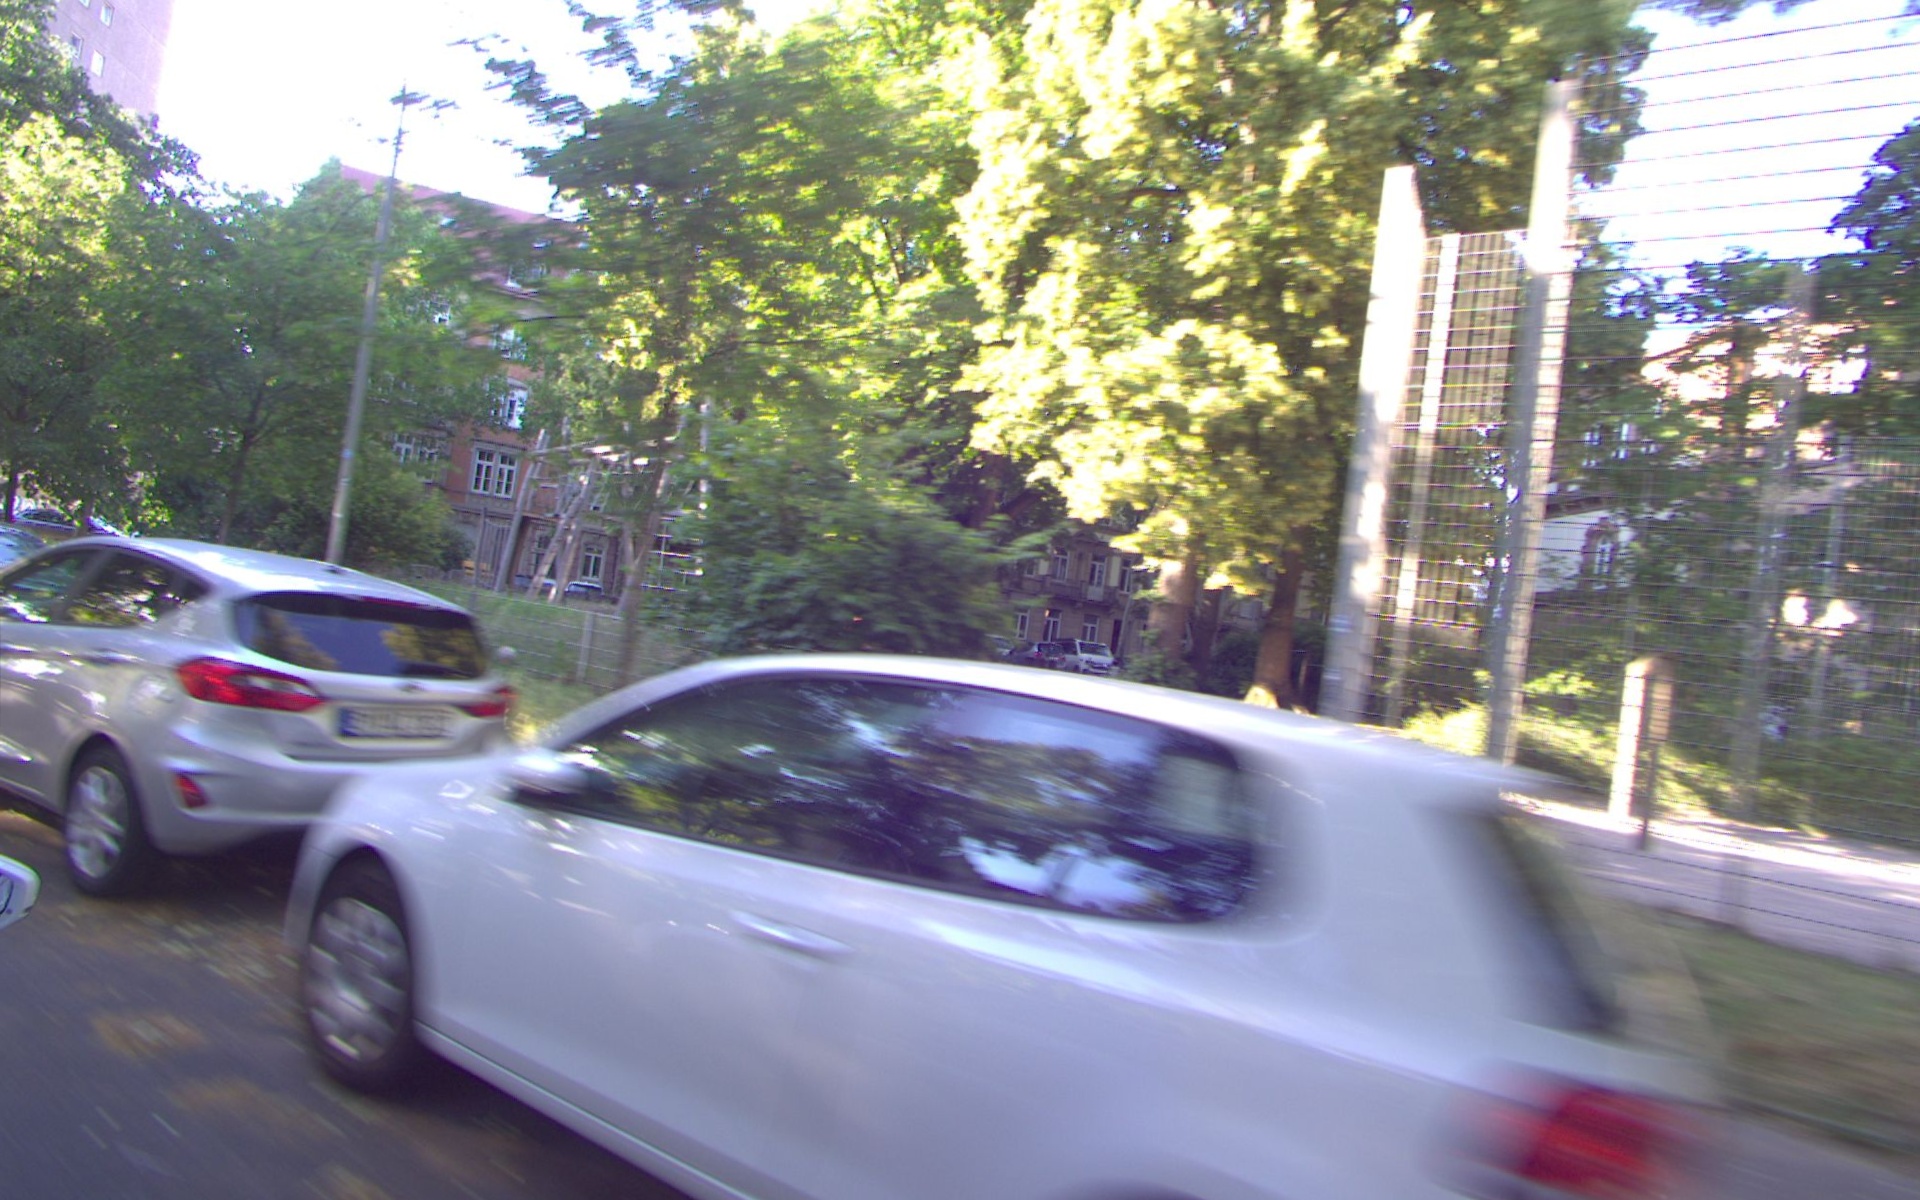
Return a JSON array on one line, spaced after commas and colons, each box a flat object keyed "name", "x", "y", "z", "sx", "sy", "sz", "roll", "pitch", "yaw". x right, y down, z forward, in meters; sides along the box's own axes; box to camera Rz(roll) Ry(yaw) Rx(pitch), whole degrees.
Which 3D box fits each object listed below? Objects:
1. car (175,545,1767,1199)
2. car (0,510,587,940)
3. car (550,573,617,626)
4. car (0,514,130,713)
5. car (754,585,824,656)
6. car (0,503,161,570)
[{"name": "car", "x": -0.359, "y": 0.839, "z": 3.028, "sx": 4.007, "sy": 1.470, "sz": 1.685, "roll": 7, "pitch": -3, "yaw": 31}, {"name": "car", "x": -4.181, "y": 0.403, "z": 5.372, "sx": 4.004, "sy": 1.470, "sz": 1.686, "roll": 7, "pitch": -3, "yaw": 27}, {"name": "car", "x": -14.723, "y": 0.025, "z": 39.509, "sx": 1.758, "sy": 1.506, "sz": 4.400, "roll": 9, "pitch": -6, "yaw": -13}, {"name": "car", "x": -9.099, "y": -0.136, "z": 8.523, "sx": 4.582, "sy": 1.439, "sz": 1.684, "roll": 7, "pitch": -3, "yaw": 32}, {"name": "car", "x": -7.246, "y": 0.870, "z": 42.178, "sx": 2.334, "sy": 2.483, "sz": 5.500, "roll": 8, "pitch": -2, "yaw": -12}, {"name": "car", "x": -31.707, "y": -2.249, "z": 36.118, "sx": 4.209, "sy": 1.567, "sz": 1.741, "roll": 8, "pitch": -5, "yaw": -13}]
